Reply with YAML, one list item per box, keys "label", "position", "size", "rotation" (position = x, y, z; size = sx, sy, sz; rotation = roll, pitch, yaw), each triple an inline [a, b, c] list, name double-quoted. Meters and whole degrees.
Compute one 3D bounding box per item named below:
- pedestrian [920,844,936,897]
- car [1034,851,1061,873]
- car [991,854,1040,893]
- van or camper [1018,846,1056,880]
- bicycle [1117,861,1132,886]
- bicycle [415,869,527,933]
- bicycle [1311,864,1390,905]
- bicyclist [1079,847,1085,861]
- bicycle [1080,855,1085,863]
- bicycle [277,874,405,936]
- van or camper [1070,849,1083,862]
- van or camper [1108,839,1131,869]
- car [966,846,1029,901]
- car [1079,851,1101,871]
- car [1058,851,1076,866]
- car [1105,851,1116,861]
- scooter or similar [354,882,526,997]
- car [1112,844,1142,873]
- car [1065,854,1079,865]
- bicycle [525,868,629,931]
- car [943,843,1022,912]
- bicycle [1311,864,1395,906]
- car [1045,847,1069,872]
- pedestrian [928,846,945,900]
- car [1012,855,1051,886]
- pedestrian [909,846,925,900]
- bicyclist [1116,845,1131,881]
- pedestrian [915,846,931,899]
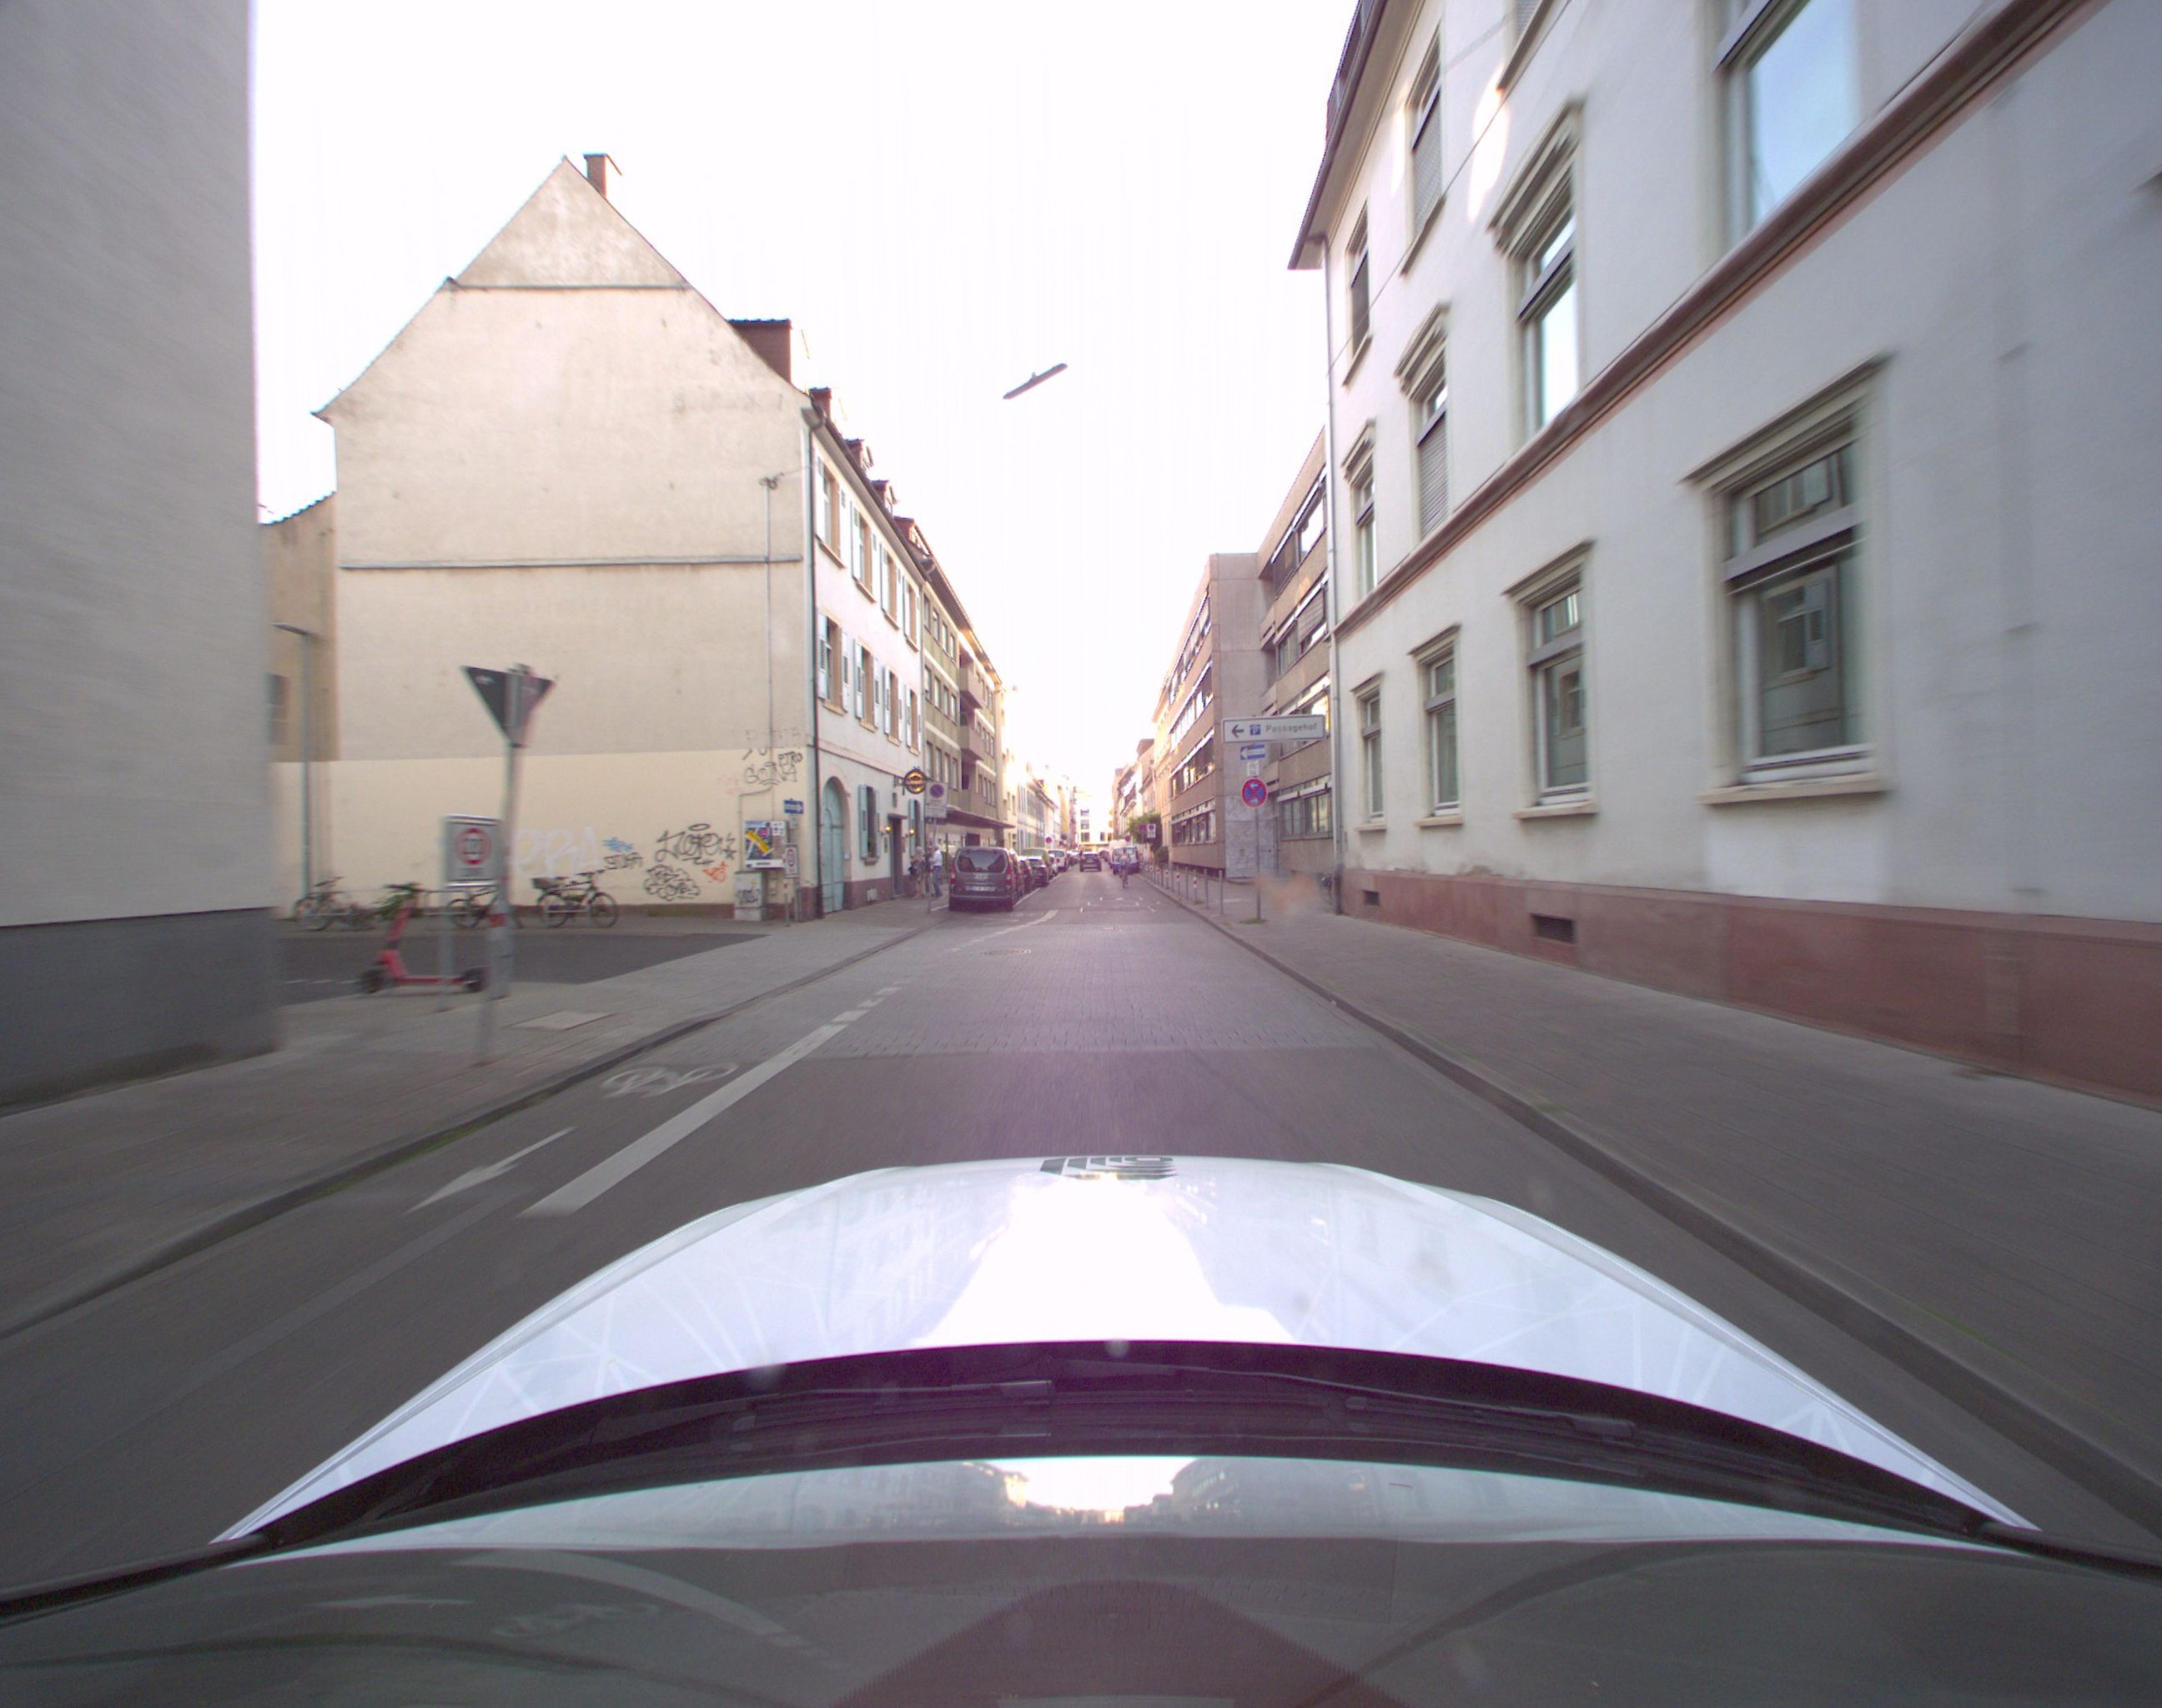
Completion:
- label: "pedestrian"
  position: [-5.209, 0.556, 27.706]
  size: [0.404, 1.750, 0.470]
  rotation: [-1, 0, 2]
- label: "car"
  position: [-2.281, 0.554, 56.286]
  size: [1.656, 1.449, 3.521]
  rotation: [2, 0, 1]
- label: "car"
  position: [-2.673, 0.783, 33.932]
  size: [1.618, 1.485, 3.879]
  rotation: [-2, 0, 1]
- label: "van or camper"
  position: [-2.492, 0.498, 46.956]
  size: [1.765, 1.848, 4.180]
  rotation: [-2, 0, 2]
- label: "bicycle"
  position: [1.909, 0.844, 36.046]
  size: [0.611, 1.082, 1.810]
  rotation: [-1, 0, 2]
- label: "bicycle"
  position: [-12.200, 0.937, 16.301]
  size: [1.915, 1.217, 0.629]
  rotation: [-1, 0, 9]
- label: "bicycle"
  position: [6.475, 0.728, 19.622]
  size: [1.737, 0.923, 0.537]
  rotation: [-1, 0, -6]
- label: "bicyclist"
  position: [0.162, 0.014, 95.026]
  size: [0.621, 1.639, 1.082]
  rotation: [-1, 0, 1]
- label: "bicycle"
  position: [0.175, 0.633, 95.110]
  size: [0.631, 0.922, 1.780]
  rotation: [-1, 0, 1]
- label: "bicycle"
  position: [-14.773, 1.008, 16.290]
  size: [1.922, 1.156, 0.626]
  rotation: [-1, 0, -4]
- label: "van or camper"
  position: [-0.733, 0.221, 133.268]
  size: [1.837, 2.013, 4.679]
  rotation: [0, 0, 1]
- label: "van or camper"
  position: [3.633, 0.005, 77.739]
  size: [2.042, 2.637, 7.066]
  rotation: [-2, 0, 2]
- label: "car"
  position: [-2.887, 0.639, 29.150]
  size: [1.767, 1.811, 4.510]
  rotation: [-1, 0, 0]
- label: "car"
  position: [0.742, 0.551, 67.635]
  size: [1.813, 1.618, 4.000]
  rotation: [0, 0, 1]
- label: "car"
  position: [-1.562, 0.517, 93.323]
  size: [1.795, 1.676, 4.493]
  rotation: [-1, 0, 3]
- label: "car"
  position: [4.647, 0.266, 127.602]
  size: [1.647, 1.561, 3.606]
  rotation: [0, 0, 1]
- label: "scooter or similar"
  position: [-7.111, 0.928, 9.099]
  size: [1.367, 1.201, 0.529]
  rotation: [2, -2, -23]
- label: "car"
  position: [3.207, 0.267, 57.741]
  size: [1.929, 1.898, 5.279]
  rotation: [-2, 0, 2]
- label: "car"
  position: [-1.197, 0.733, 111.068]
  size: [1.912, 1.434, 4.292]
  rotation: [0, 0, -1]
- label: "bicycle"
  position: [-10.102, 0.904, 16.322]
  size: [1.912, 1.217, 0.630]
  rotation: [-1, 0, 15]
- label: "car"
  position: [-2.799, 0.628, 24.016]
  size: [1.872, 1.811, 4.447]
  rotation: [-1, 0, -2]
- label: "bicycle"
  position: [6.275, 0.711, 18.809]
  size: [1.793, 0.923, 0.537]
  rotation: [-1, 0, -7]
- label: "car"
  position: [-1.991, 0.442, 69.183]
  size: [1.856, 2.013, 5.105]
  rotation: [-2, 0, 0]
- label: "pedestrian"
  position: [-4.773, 0.616, 26.919]
  size: [0.447, 1.750, 0.470]
  rotation: [-1, 0, 2]
- label: "car"
  position: [-2.338, 0.754, 38.900]
  size: [1.619, 1.416, 3.980]
  rotation: [-1, 0, 0]
- label: "pedestrian"
  position: [-5.358, 0.625, 26.645]
  size: [0.404, 1.750, 0.470]
  rotation: [-1, 0, 2]
- label: "bicyclist"
  position: [1.890, 0.383, 36.113]
  size: [0.618, 1.574, 0.684]
  rotation: [-1, 0, 2]
- label: "pedestrian"
  position: [-5.273, 0.625, 27.165]
  size: [0.404, 1.750, 0.470]
  rotation: [-1, 0, 2]
